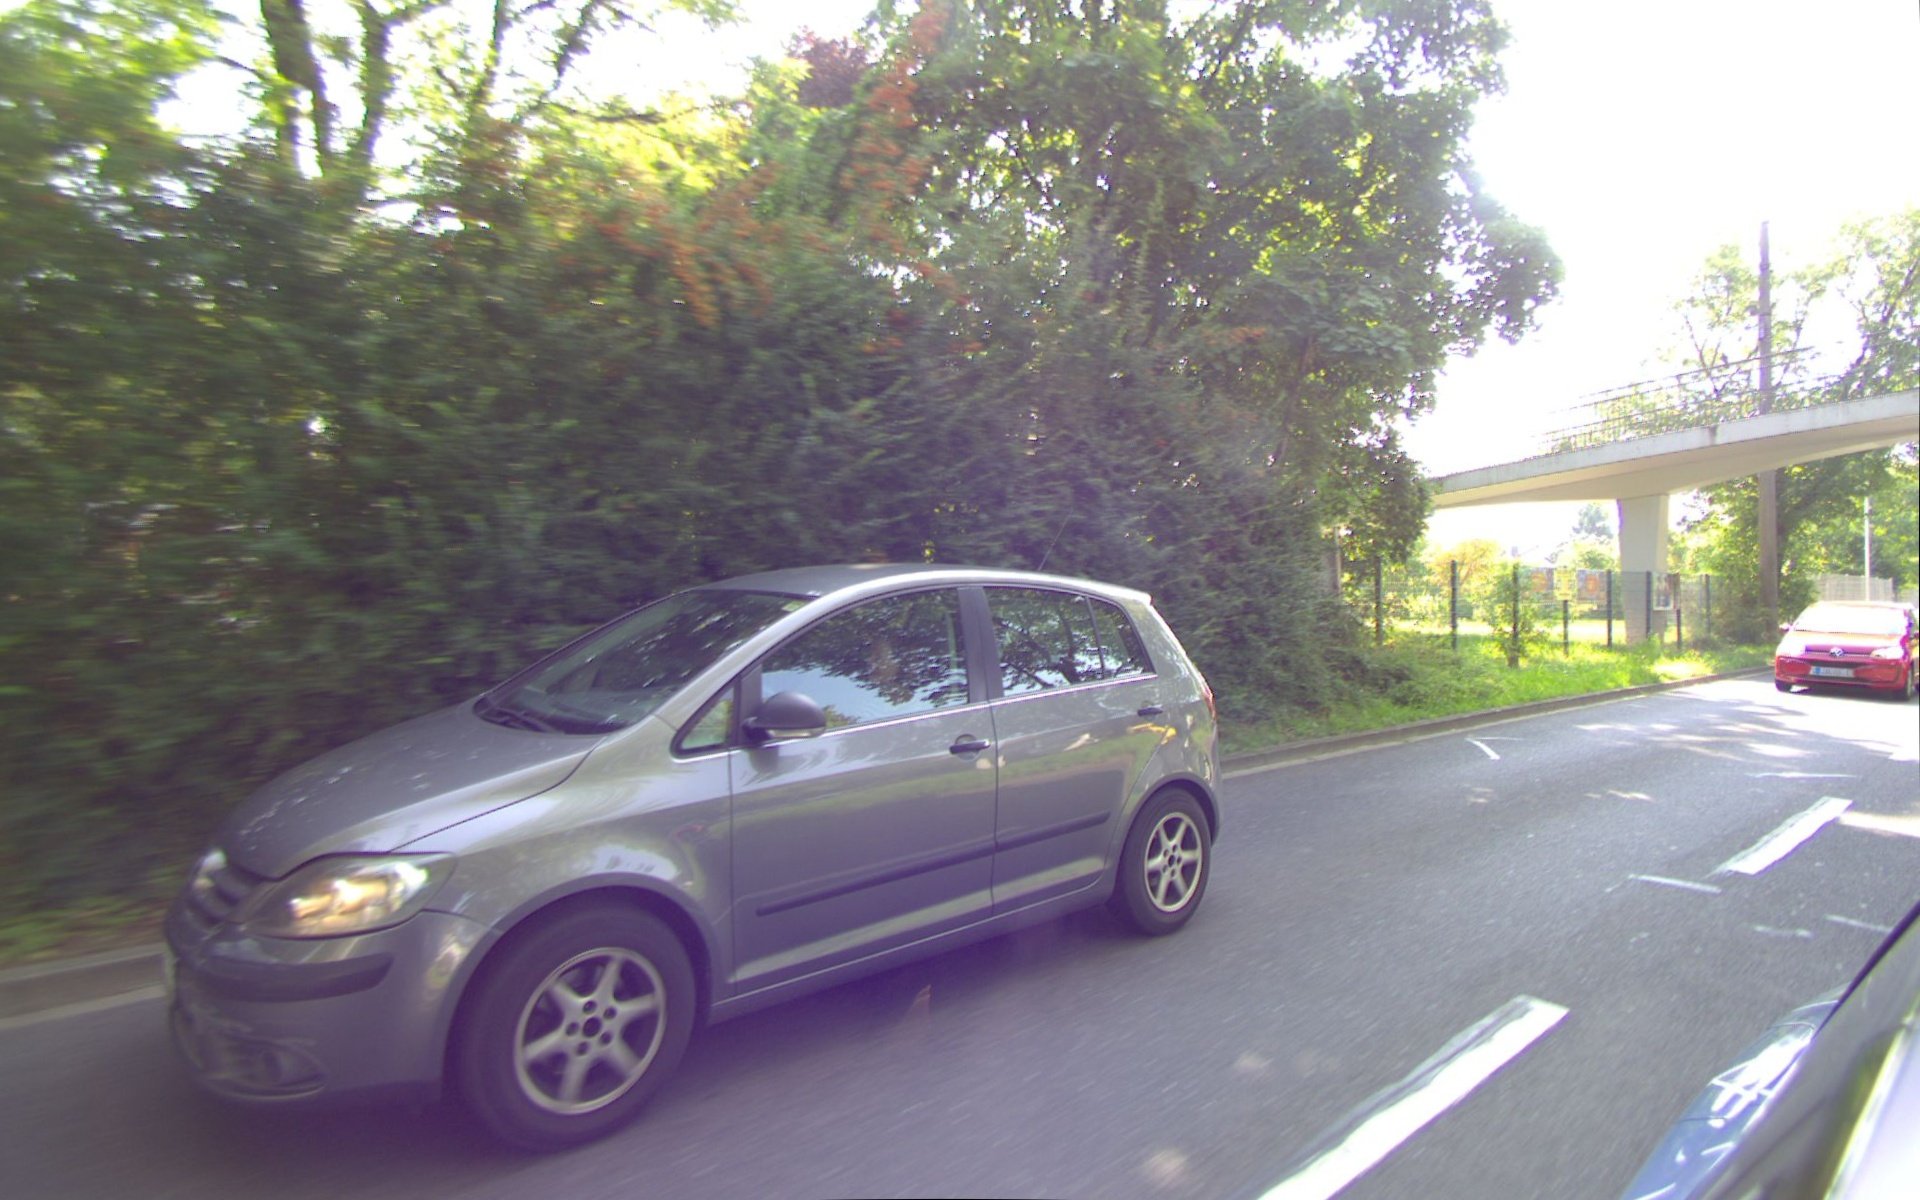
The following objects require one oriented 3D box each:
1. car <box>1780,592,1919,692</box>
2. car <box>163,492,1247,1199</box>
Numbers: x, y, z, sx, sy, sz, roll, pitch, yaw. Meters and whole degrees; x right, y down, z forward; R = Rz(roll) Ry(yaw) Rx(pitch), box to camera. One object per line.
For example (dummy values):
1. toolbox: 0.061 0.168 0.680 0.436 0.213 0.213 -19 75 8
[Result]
1. car: 14.748 0.595 16.365 3.408 1.416 1.579 -1 1 -38
2. car: -0.675 0.554 4.004 3.831 1.576 1.647 -1 -1 -41
